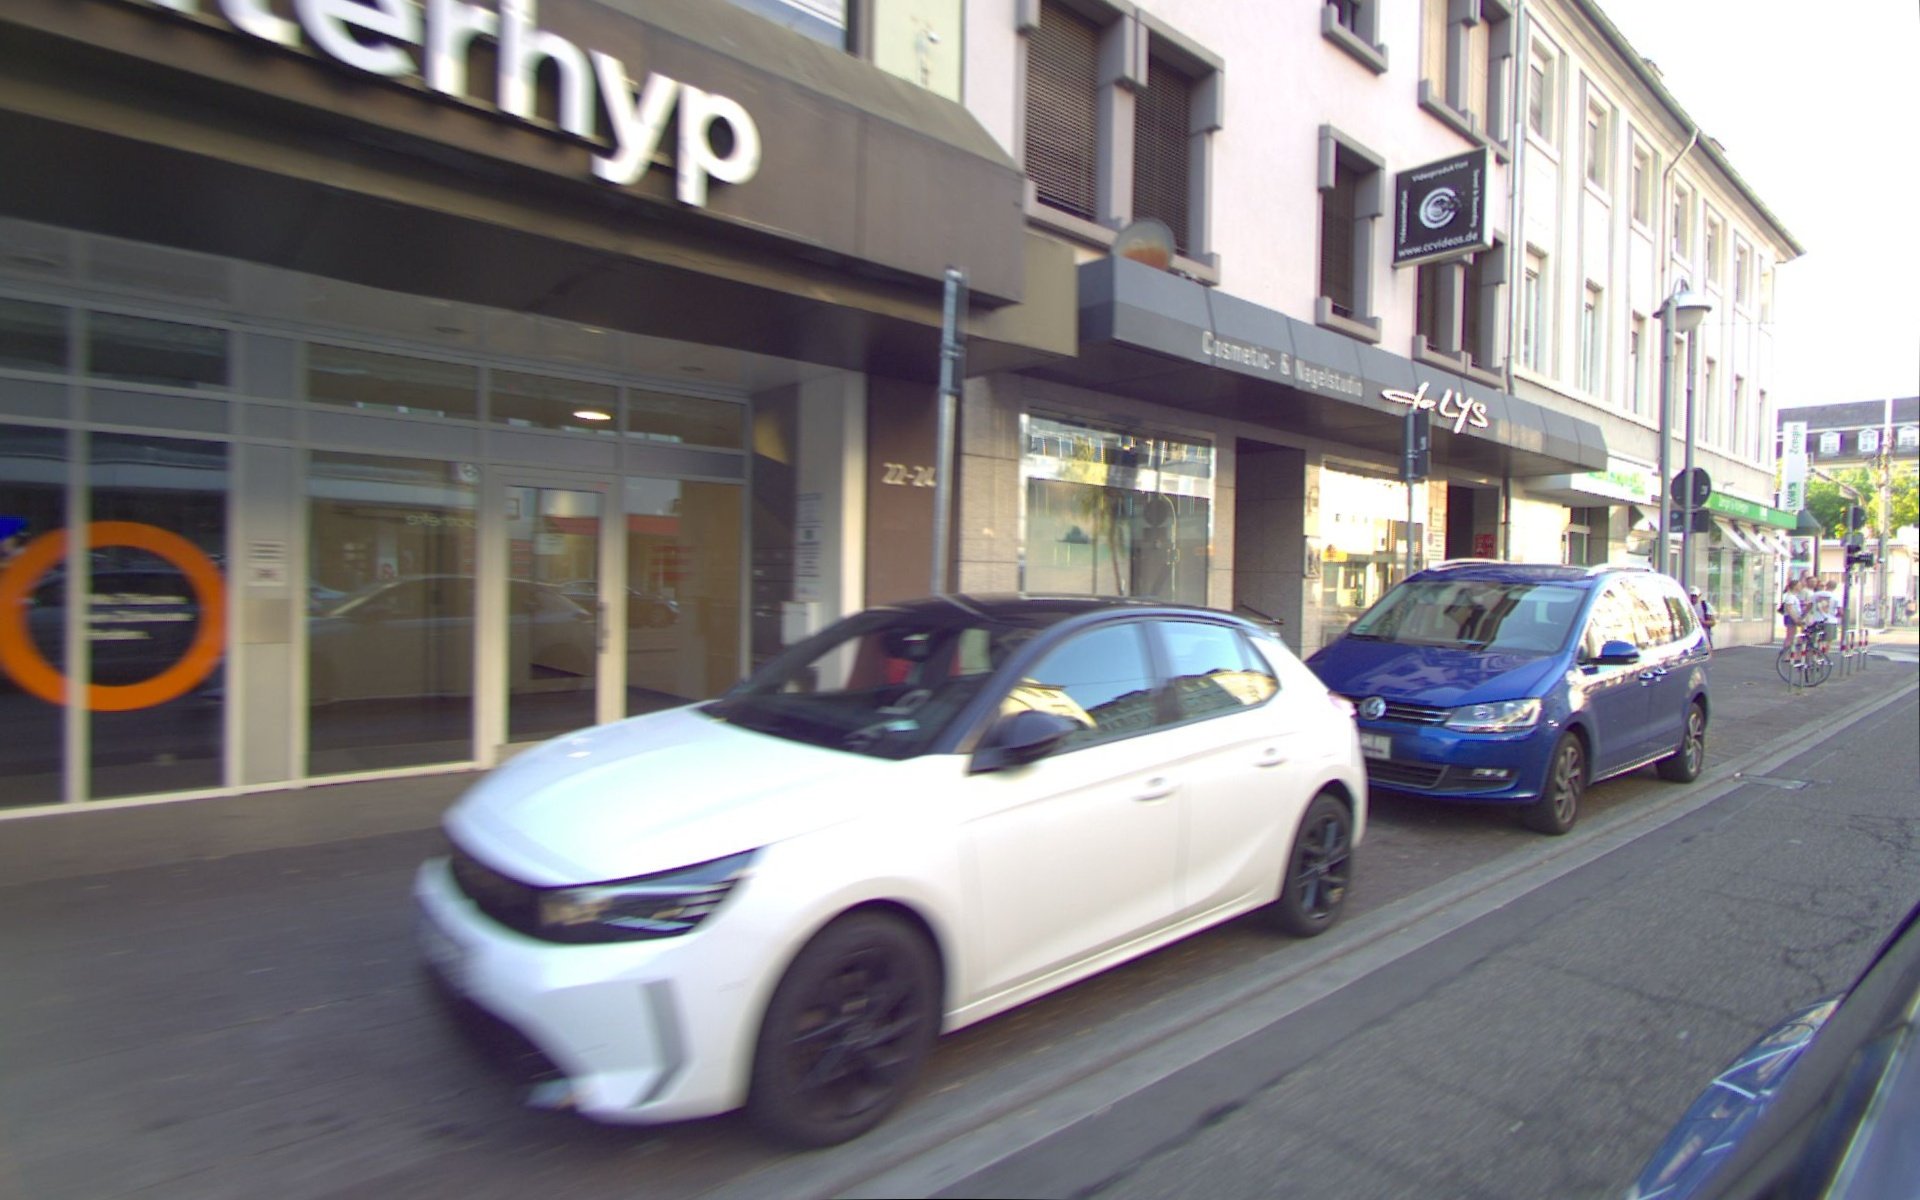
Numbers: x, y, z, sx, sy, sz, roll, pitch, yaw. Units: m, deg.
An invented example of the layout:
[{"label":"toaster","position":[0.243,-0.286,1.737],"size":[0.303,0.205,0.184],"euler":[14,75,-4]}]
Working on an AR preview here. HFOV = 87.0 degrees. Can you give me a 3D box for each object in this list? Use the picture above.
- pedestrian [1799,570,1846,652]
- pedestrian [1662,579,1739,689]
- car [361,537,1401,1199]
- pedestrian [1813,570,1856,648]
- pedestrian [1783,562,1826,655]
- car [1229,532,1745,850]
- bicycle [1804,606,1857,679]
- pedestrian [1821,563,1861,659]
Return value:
[{"label":"pedestrian","position":[18.945,0.227,22.241],"size":[0.687,1.767,0.639],"euler":[0,1,-39]},{"label":"pedestrian","position":[10.956,0.478,14.971],"size":[0.854,1.567,0.699],"euler":[0,1,-39]},{"label":"car","position":[-0.025,0.585,4.028],"size":[3.805,1.503,1.770],"euler":[0,4,-41]},{"label":"pedestrian","position":[20.633,0.191,23.884],"size":[0.636,1.800,0.671],"euler":[0,1,-42]},{"label":"pedestrian","position":[18.120,0.173,21.723],"size":[0.636,1.952,0.522],"euler":[1,1,38]},{"label":"car","position":[4.231,0.447,7.785],"size":[4.483,1.737,1.919],"euler":[0,4,-40]},{"label":"bicycle","position":[14.405,0.676,16.736],"size":[1.621,1.103,0.478],"euler":[-1,3,-44]},{"label":"pedestrian","position":[18.255,0.218,20.978],"size":[0.573,1.952,0.489],"euler":[1,1,39]}]
